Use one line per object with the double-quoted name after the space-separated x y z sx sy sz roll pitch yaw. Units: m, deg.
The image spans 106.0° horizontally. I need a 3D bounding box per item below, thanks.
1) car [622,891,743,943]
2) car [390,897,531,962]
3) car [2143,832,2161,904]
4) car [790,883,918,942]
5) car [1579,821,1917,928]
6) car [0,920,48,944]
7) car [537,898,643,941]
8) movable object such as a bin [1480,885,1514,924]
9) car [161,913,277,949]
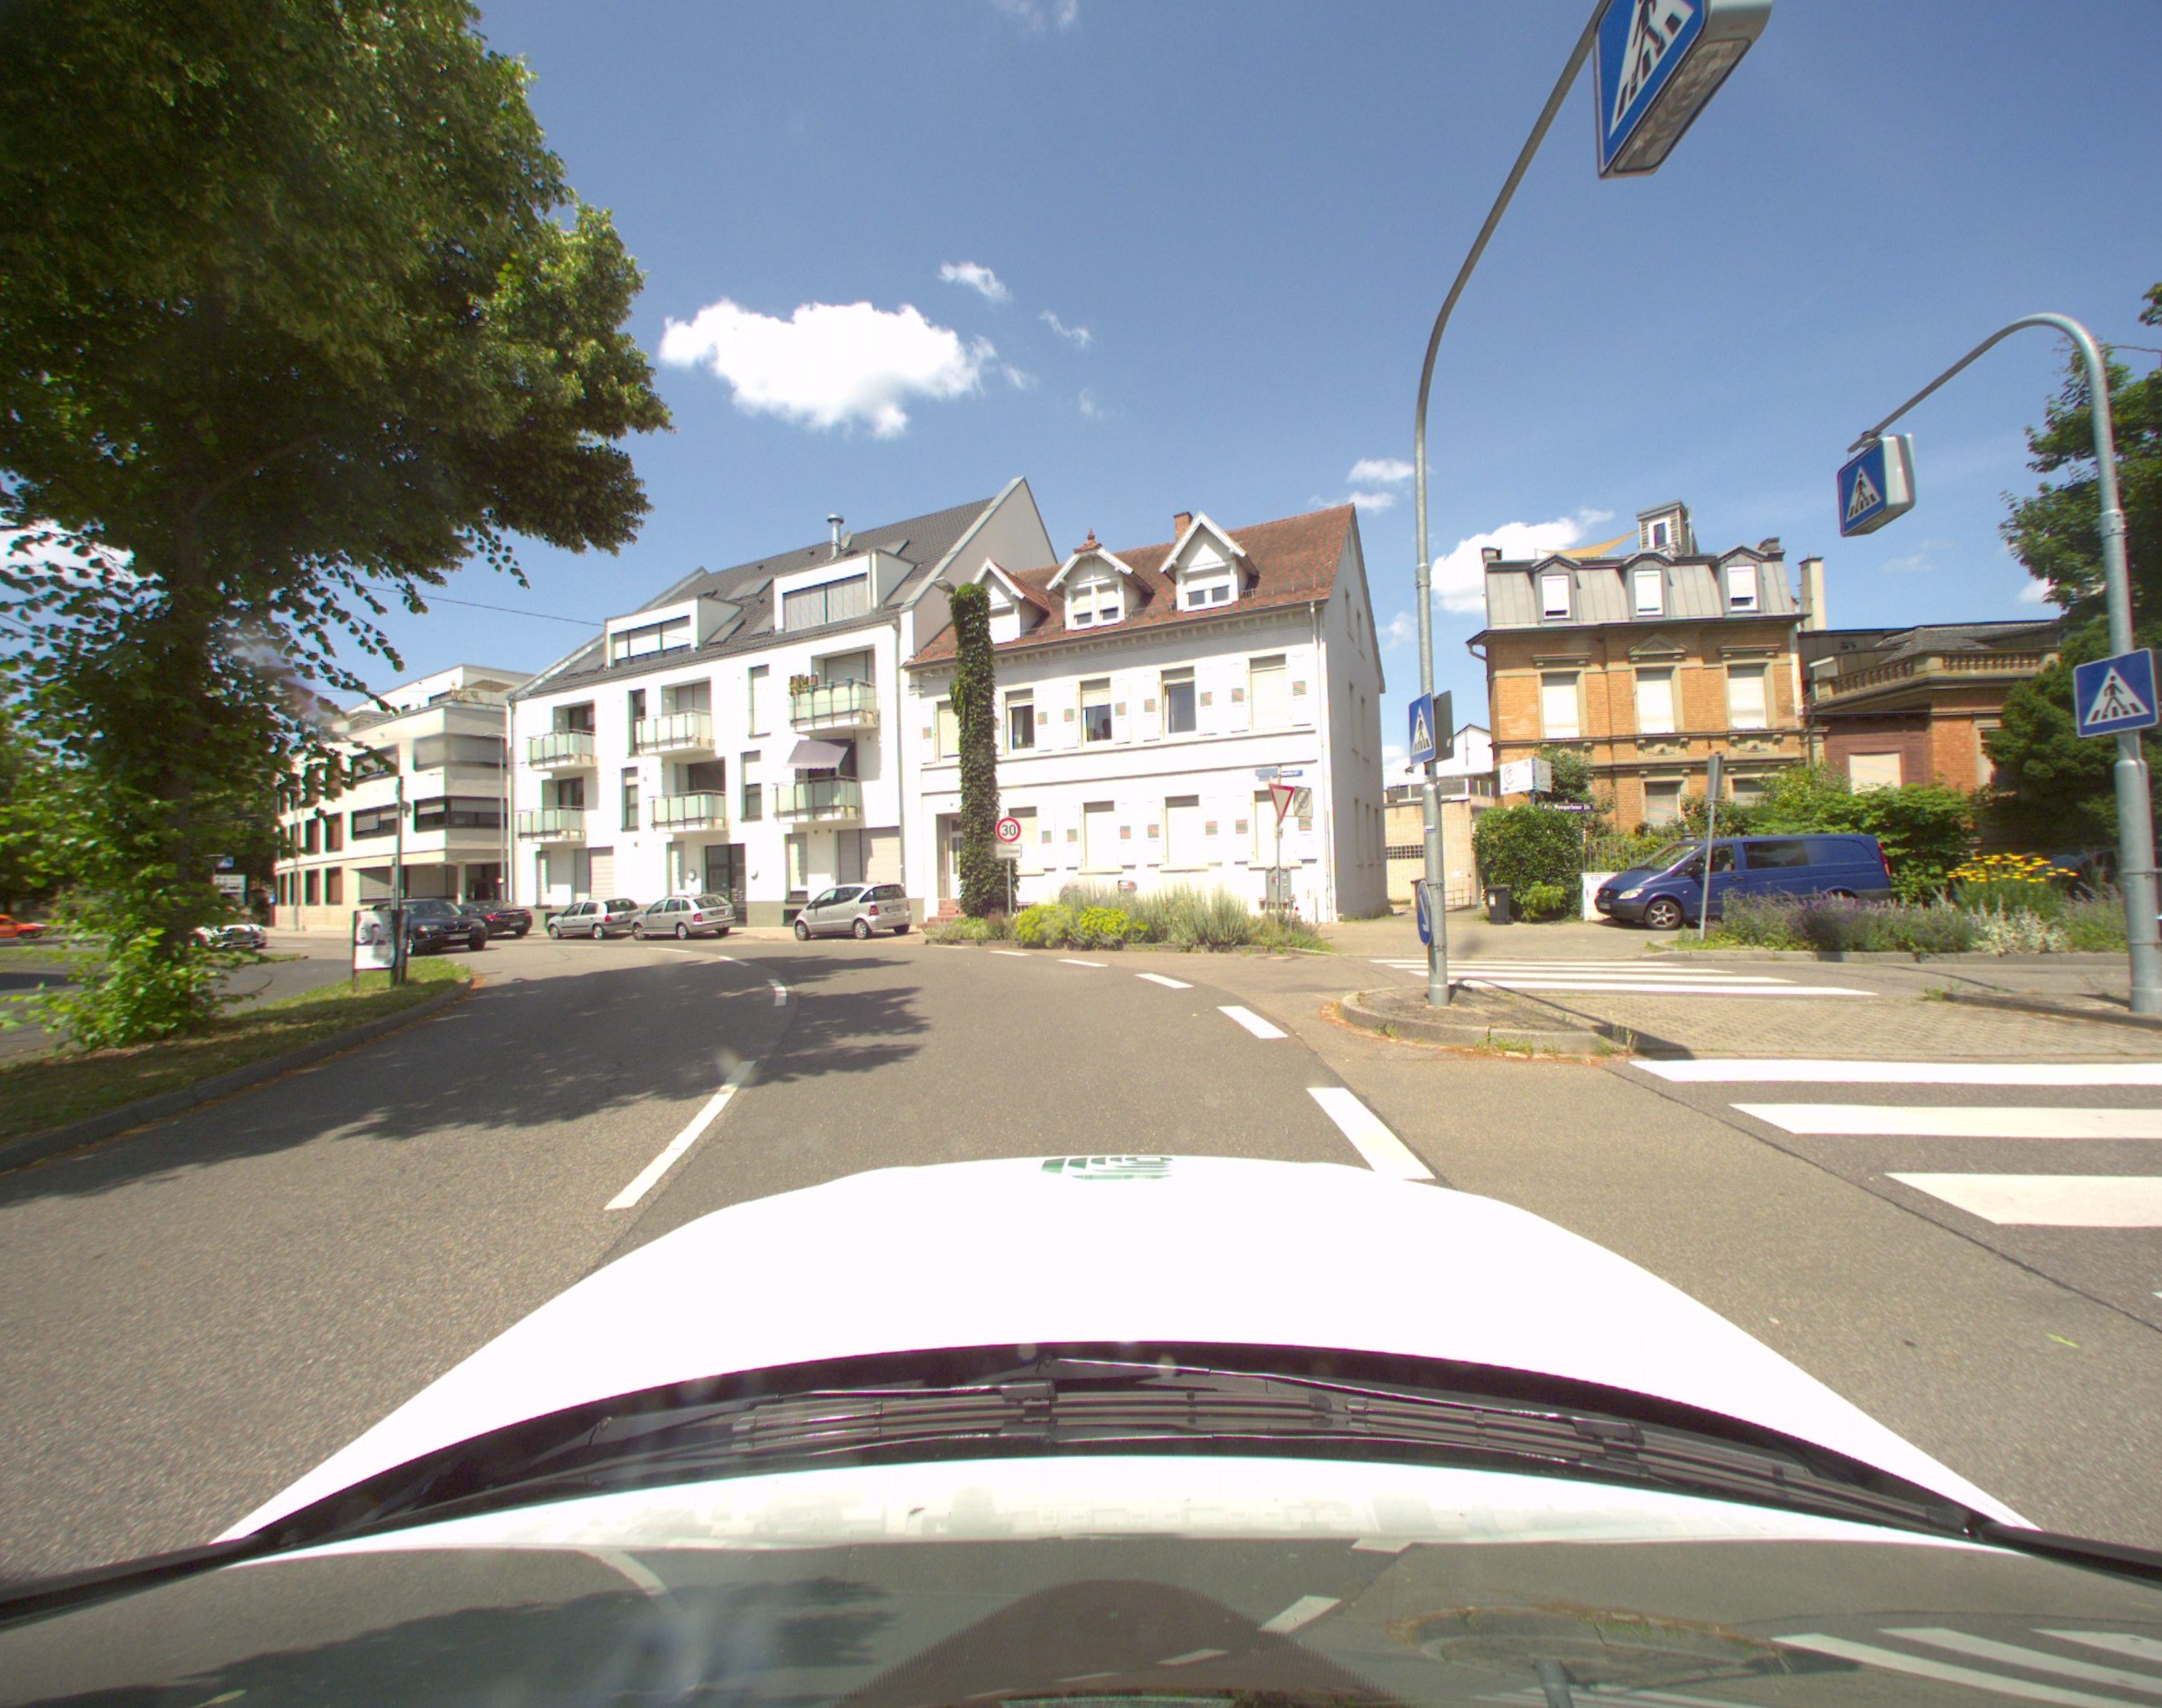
-13.318 2.067 27.177 3.858 1.465 1.672 -2 3 30 "car"
-17.225 2.060 22.545 4.338 1.552 1.906 -4 -2 36 "car"
25.818 0.273 17.153 4.211 1.591 1.862 0 -3 3 "car"
-6.651 1.673 23.801 3.571 1.587 1.594 -2 -4 33 "car"
13.992 0.446 17.457 5.191 1.947 2.089 -3 -1 11 "car"
-73.227 5.288 54.982 1.631 1.528 4.091 -3 -4 43 "car"
-17.692 2.342 29.342 3.461 1.357 1.431 -2 3 24 "car"
9.783 1.185 19.159 0.420 0.916 0.556 1 -3 -22 "movable object such as a bin"
-32.961 2.908 31.127 3.951 1.244 1.796 -1 -3 24 "car"
